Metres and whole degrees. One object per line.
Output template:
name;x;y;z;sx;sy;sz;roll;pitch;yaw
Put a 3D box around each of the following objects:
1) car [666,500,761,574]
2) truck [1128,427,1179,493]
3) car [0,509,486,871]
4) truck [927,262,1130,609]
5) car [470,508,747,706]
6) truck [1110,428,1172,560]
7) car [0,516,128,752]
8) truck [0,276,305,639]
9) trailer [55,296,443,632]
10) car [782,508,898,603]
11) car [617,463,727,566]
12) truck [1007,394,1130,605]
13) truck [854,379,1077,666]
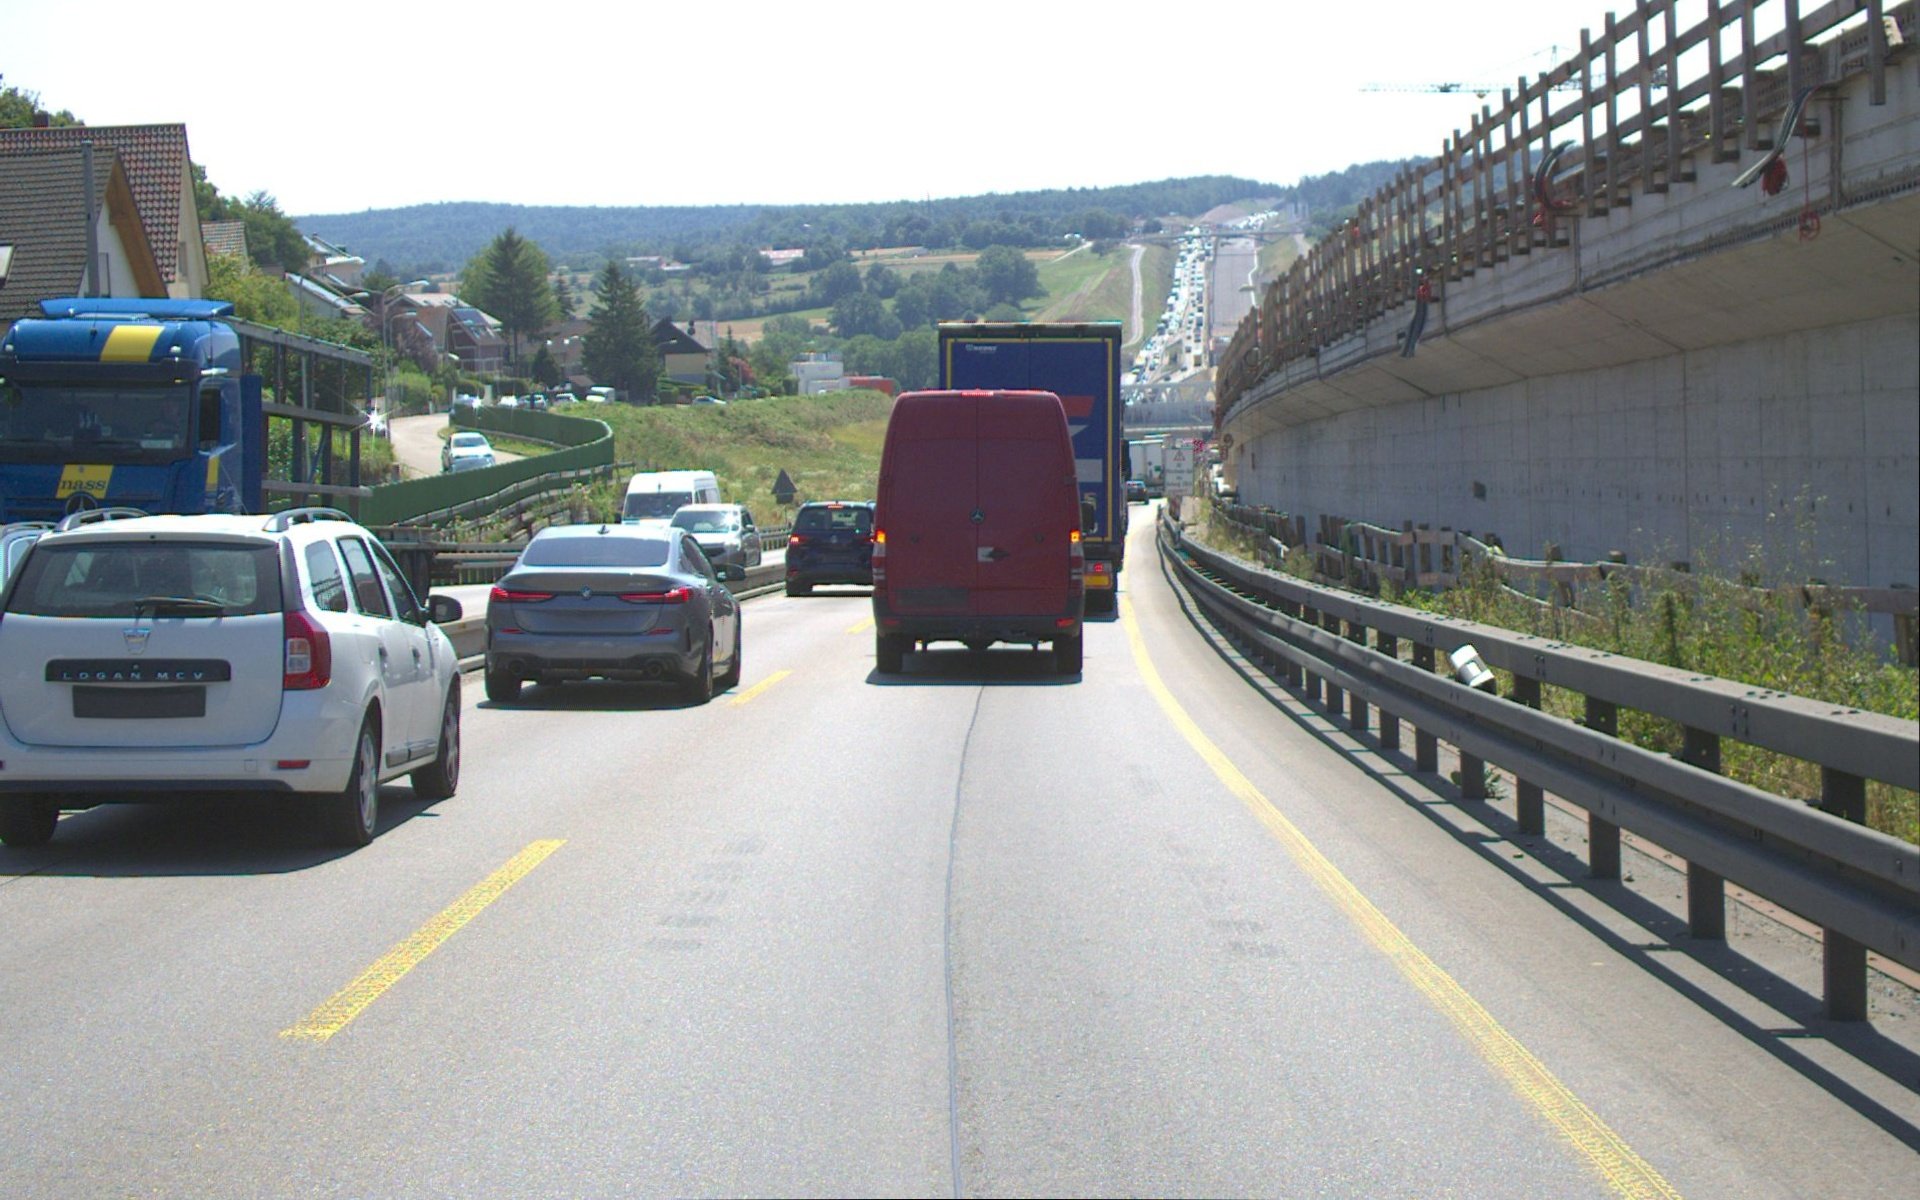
car;-5.035;-1.301;70.632;1.562;1.459;4.019;0;1;1
truck;13.974;-10.034;248.049;3.468;4.366;8.555;0;0;4
car;-3.488;0.368;16.764;1.651;1.478;4.266;-3;0;1
truck;1.018;-2.286;52.646;2.786;4.799;9.685;0;0;1
car;-2.826;0.042;28.457;1.795;1.480;4.049;1;0;1
truck;6.184;-3.586;117.361;1.994;4.366;3.999;0;0;4
car;-6.712;0.196;22.127;1.544;1.459;4.629;0;1;1
truck;-9.480;-1.556;40.189;2.508;3.951;5.175;0;0;2
trailer;-9.284;-1.654;46.452;2.508;3.951;11.398;0;0;2
car;-2.082;-0.764;60.302;1.810;1.602;3.719;0;0;1
car;-7.378;-2.155;88.628;1.994;2.498;5.515;0;0;4
truck;2.564;-2.309;83.665;2.786;4.799;9.685;0;0;1
truck;0.101;-0.702;33.036;1.993;2.570;4.000;0;0;1
